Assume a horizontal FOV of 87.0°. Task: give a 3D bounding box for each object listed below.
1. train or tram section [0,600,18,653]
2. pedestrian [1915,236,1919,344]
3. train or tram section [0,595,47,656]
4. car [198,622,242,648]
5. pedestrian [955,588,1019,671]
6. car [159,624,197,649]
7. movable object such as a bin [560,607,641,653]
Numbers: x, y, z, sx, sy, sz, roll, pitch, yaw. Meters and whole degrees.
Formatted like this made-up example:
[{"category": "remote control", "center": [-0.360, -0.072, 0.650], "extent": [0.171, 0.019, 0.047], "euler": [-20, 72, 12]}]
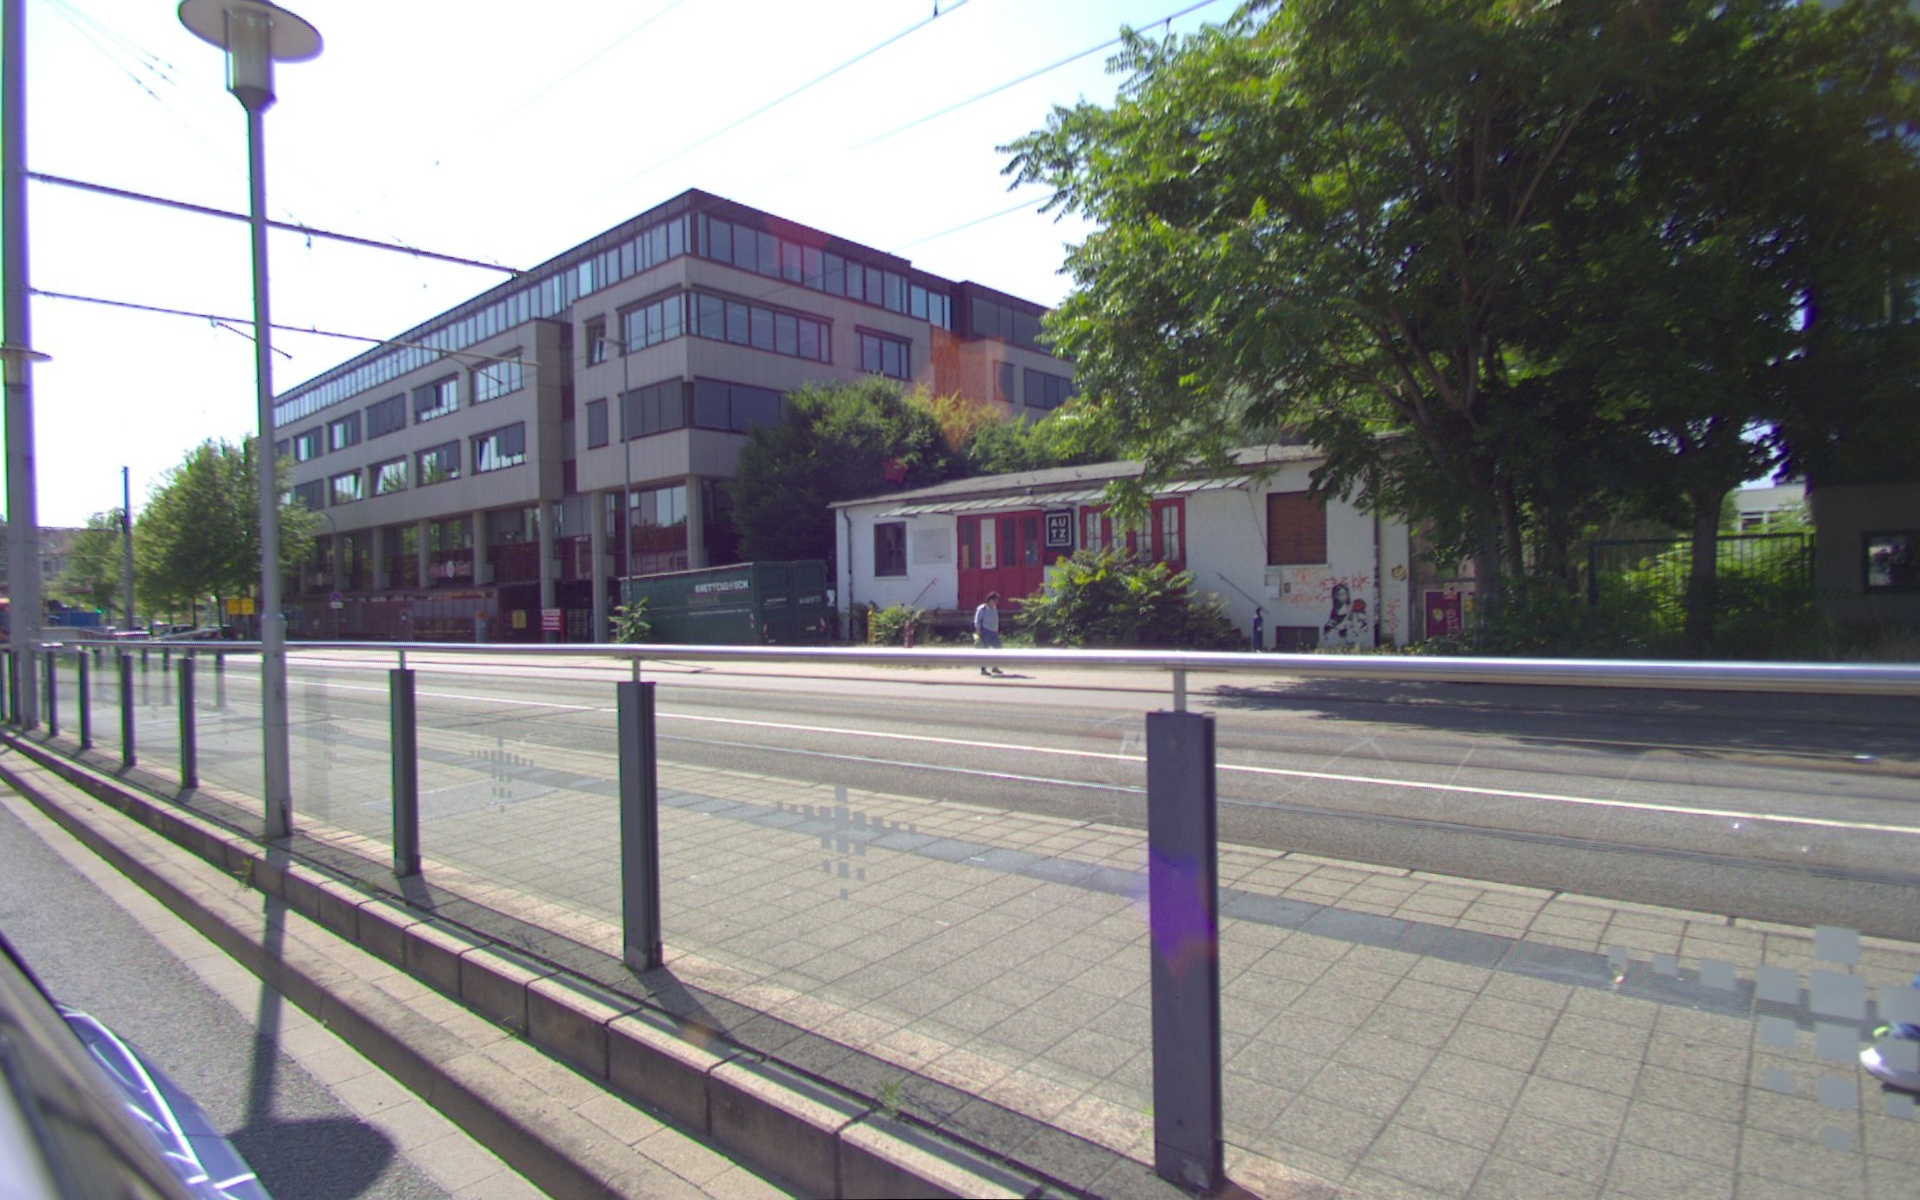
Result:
[{"category": "train or tram section", "center": [-69.916, 1.958, 72.091], "extent": [13.381, 3.511, 2.646], "euler": [-2, 0, 41]}, {"category": "pedestrian", "center": [2.394, 0.047, 1.777], "extent": [0.944, 1.737, 0.716], "euler": [-3, 0, 41]}, {"category": "train or tram section", "center": [-60.291, 1.635, 63.665], "extent": [12.320, 3.511, 2.646], "euler": [-2, 0, 41]}, {"category": "car", "center": [-48.523, 2.282, 66.308], "extent": [1.969, 1.635, 4.005], "euler": [0, -1, -42]}, {"category": "pedestrian", "center": [0.515, 0.552, 19.336], "extent": [0.845, 1.538, 0.862], "euler": [-2, 0, 40]}, {"category": "car", "center": [-54.639, 2.550, 70.706], "extent": [1.844, 1.630, 4.005], "euler": [0, -1, -42]}, {"category": "movable object such as a bin", "center": [-16.717, 1.384, 47.062], "extent": [3.157, 2.029, 1.734], "euler": [-2, 0, 21]}]
